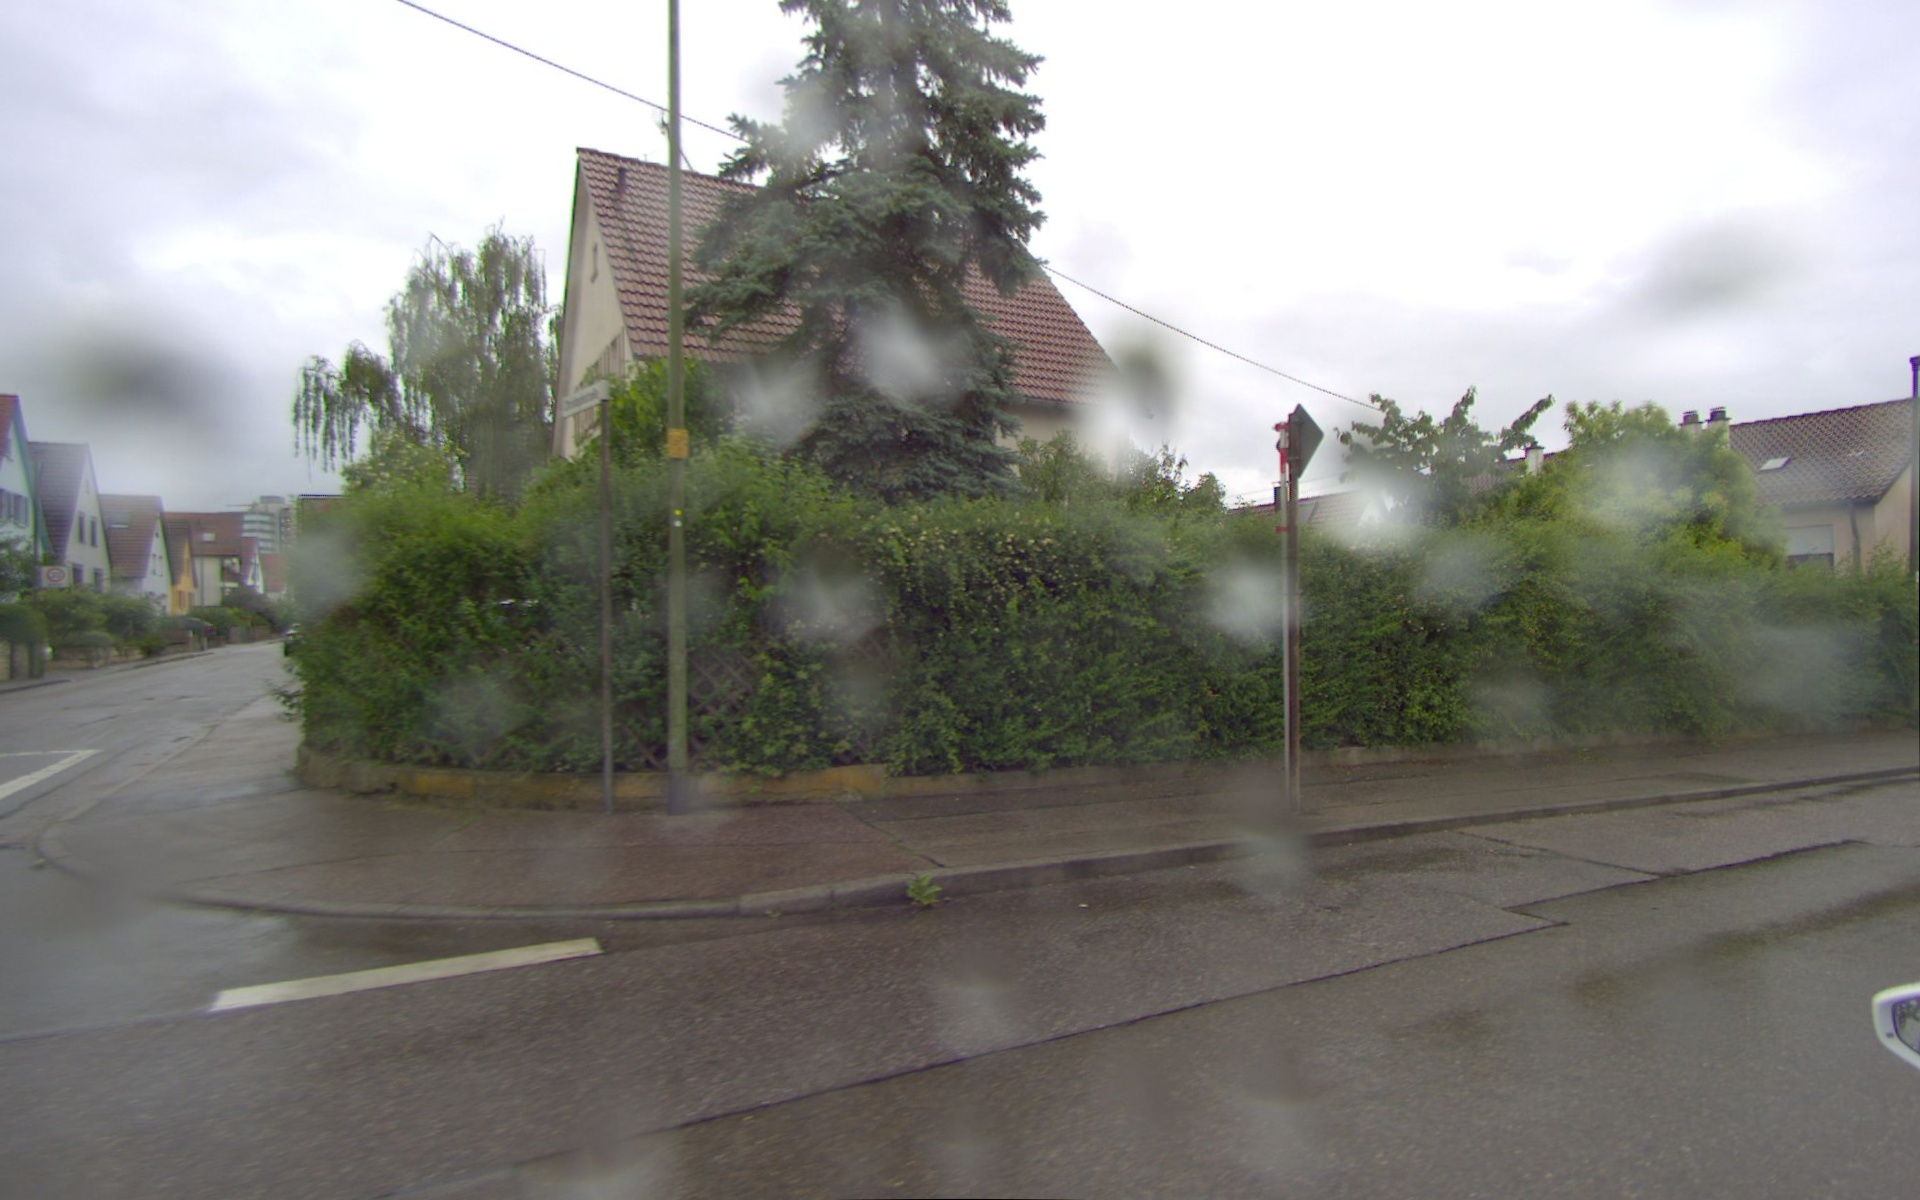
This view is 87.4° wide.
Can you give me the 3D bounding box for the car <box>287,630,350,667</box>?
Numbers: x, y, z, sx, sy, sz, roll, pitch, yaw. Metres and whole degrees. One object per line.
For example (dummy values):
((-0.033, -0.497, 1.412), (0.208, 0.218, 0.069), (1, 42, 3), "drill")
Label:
((-27.693, 2.048, 43.465), (1.975, 1.461, 3.971), (0, -1, -28), "car")
